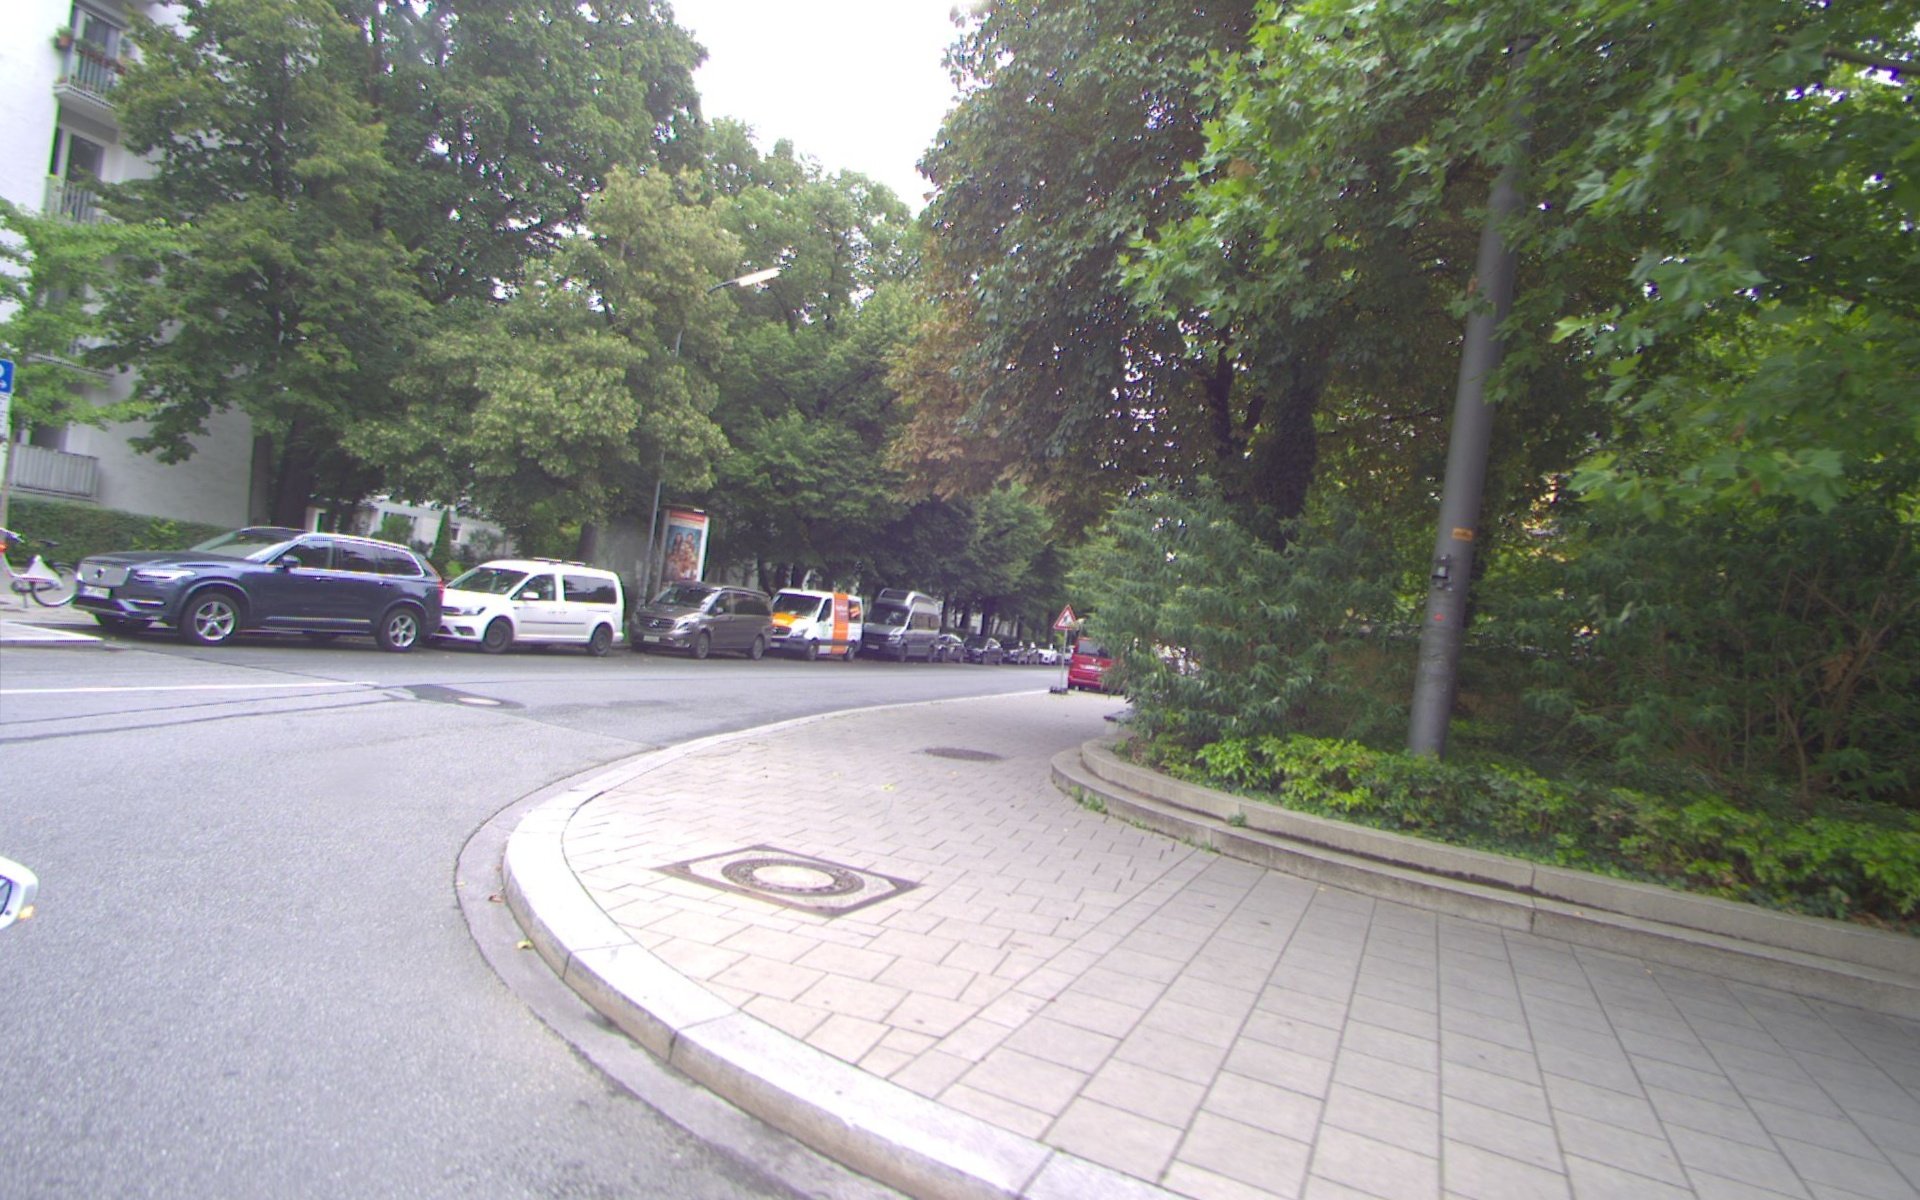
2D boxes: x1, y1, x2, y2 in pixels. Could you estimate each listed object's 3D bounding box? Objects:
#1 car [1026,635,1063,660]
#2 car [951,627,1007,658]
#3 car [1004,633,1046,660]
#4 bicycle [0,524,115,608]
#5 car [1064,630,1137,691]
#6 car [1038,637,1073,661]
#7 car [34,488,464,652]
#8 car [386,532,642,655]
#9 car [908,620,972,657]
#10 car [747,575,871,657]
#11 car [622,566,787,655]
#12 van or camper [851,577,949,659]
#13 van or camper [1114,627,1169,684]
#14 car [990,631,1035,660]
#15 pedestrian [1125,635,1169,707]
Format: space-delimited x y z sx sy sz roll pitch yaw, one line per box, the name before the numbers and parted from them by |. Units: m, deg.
car | 6.096 3.435 72.193 1.823 1.491 4.003 7 -1 16
car | 1.047 2.275 53.163 1.845 1.363 4.003 8 -1 16
car | 4.326 3.116 66.515 1.823 1.491 4.003 7 -1 16
bicycle | -13.091 -0.479 14.168 0.482 1.061 1.832 7 -1 12
car | 5.269 2.230 37.231 1.959 1.860 4.718 6 -2 15
car | 7.347 3.746 76.785 1.823 1.491 4.003 7 -1 16
car | -10.167 -0.286 15.003 1.962 1.813 4.916 6 -2 18
car | -8.666 -0.004 20.137 1.801 1.941 4.853 6 -2 17
car | -0.885 1.860 47.952 1.845 1.433 4.003 8 -1 16
car | -4.915 0.638 33.598 1.916 2.299 5.248 6 -2 15
car | -6.620 0.382 26.821 1.857 1.956 5.213 6 -2 14
van or camper | -2.393 0.848 42.188 1.969 2.979 6.016 6 -1 15
van or camper | 9.491 2.917 52.292 2.098 2.576 5.248 6 -1 15
car | 3.225 2.802 61.523 1.823 1.491 4.004 8 -1 15
pedestrian | 5.121 1.935 27.565 0.860 1.853 1.052 7 0 17
